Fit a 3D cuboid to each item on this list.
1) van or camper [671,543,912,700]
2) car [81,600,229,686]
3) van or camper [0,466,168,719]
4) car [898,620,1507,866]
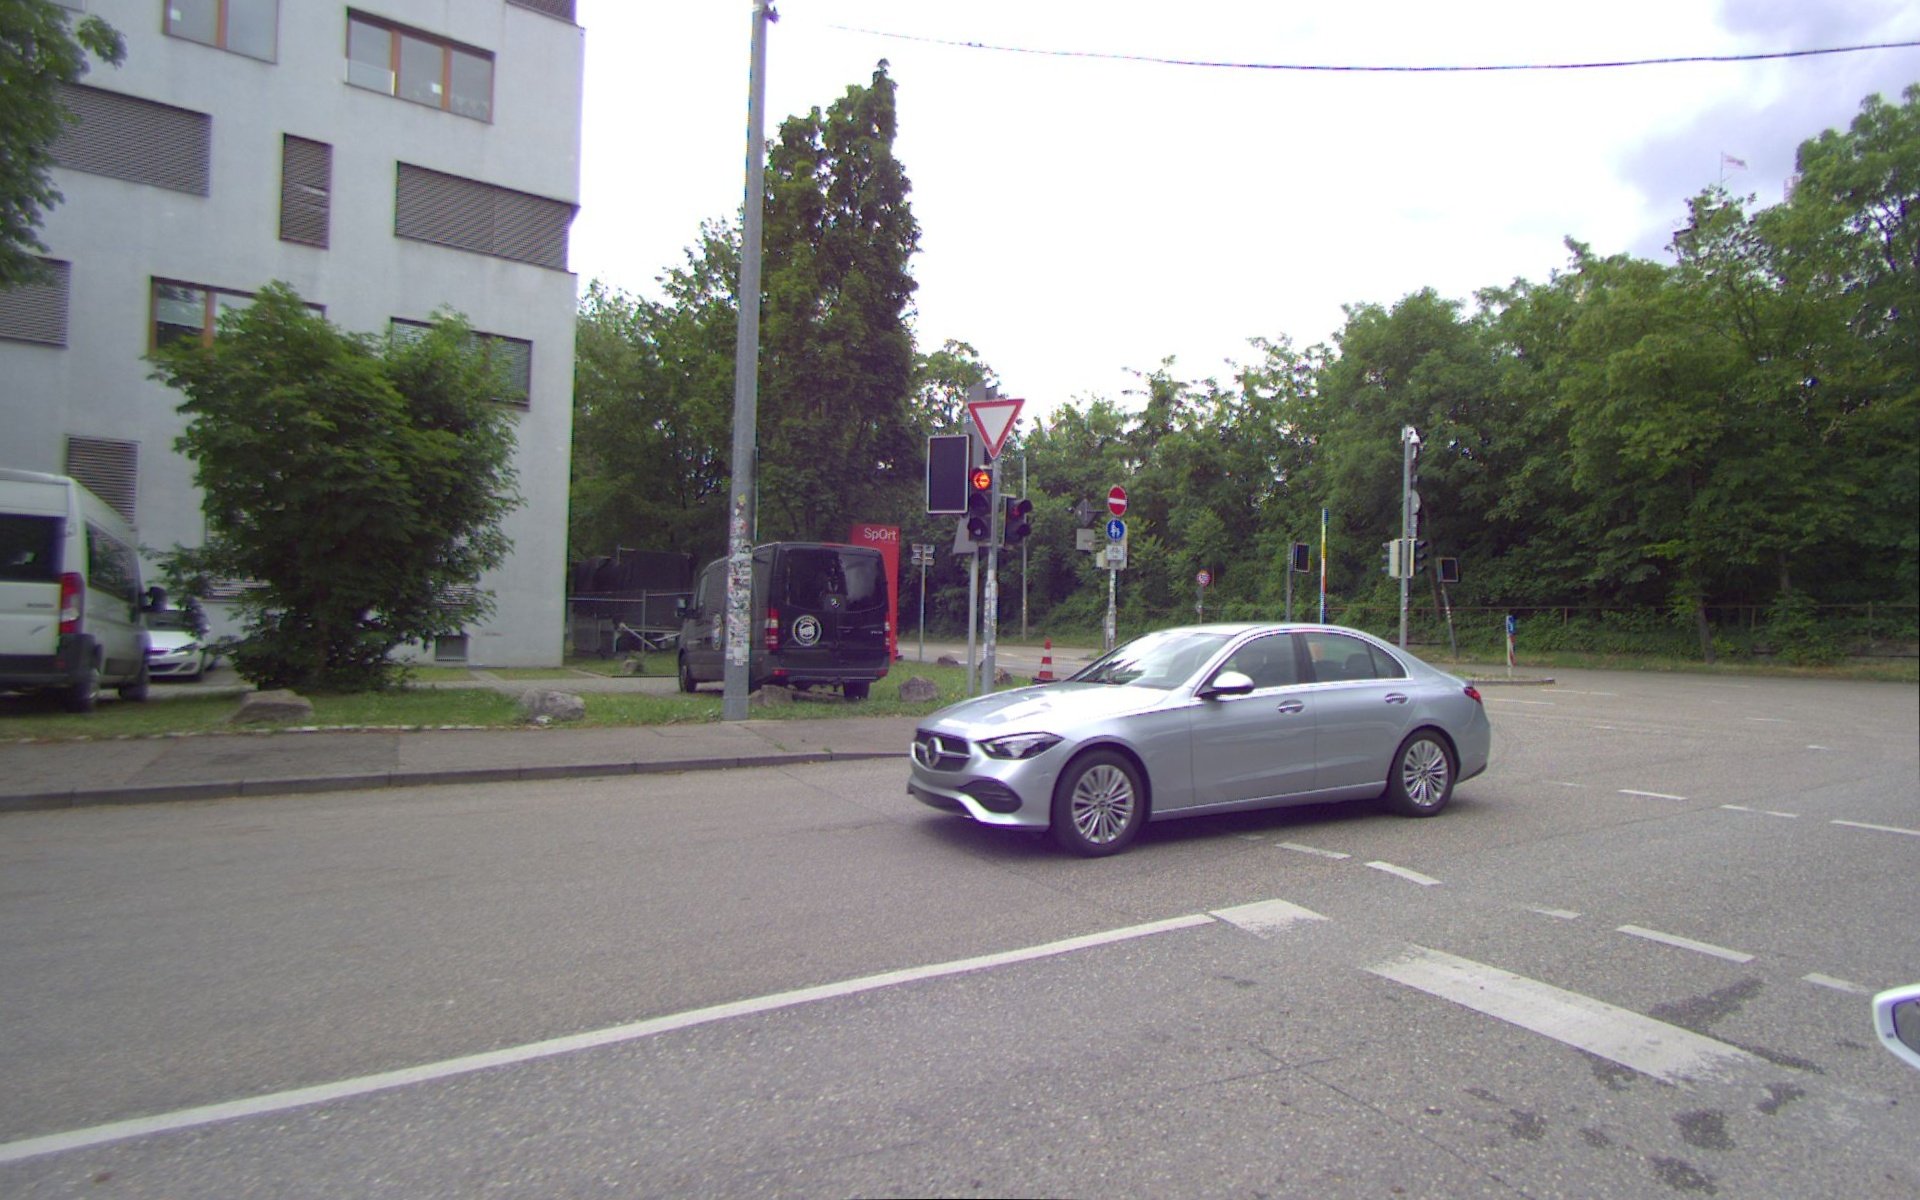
[{"bbox_3d":[-3.011,0.454,16.612,2.144,2.137,5.601,1,-3,-30],"label":"van or camper"},{"bbox_3d":[-16.429,0.811,20.699,1.837,1.479,4.041,1,1,-31],"label":"car"},{"bbox_3d":[-10.981,-0.008,11.699,2.133,2.455,5.142,2,-3,-32],"label":"van or camper"},{"bbox_3d":[1.852,0.894,7.485,4.311,1.416,1.692,2,-1,-25],"label":"car"}]
